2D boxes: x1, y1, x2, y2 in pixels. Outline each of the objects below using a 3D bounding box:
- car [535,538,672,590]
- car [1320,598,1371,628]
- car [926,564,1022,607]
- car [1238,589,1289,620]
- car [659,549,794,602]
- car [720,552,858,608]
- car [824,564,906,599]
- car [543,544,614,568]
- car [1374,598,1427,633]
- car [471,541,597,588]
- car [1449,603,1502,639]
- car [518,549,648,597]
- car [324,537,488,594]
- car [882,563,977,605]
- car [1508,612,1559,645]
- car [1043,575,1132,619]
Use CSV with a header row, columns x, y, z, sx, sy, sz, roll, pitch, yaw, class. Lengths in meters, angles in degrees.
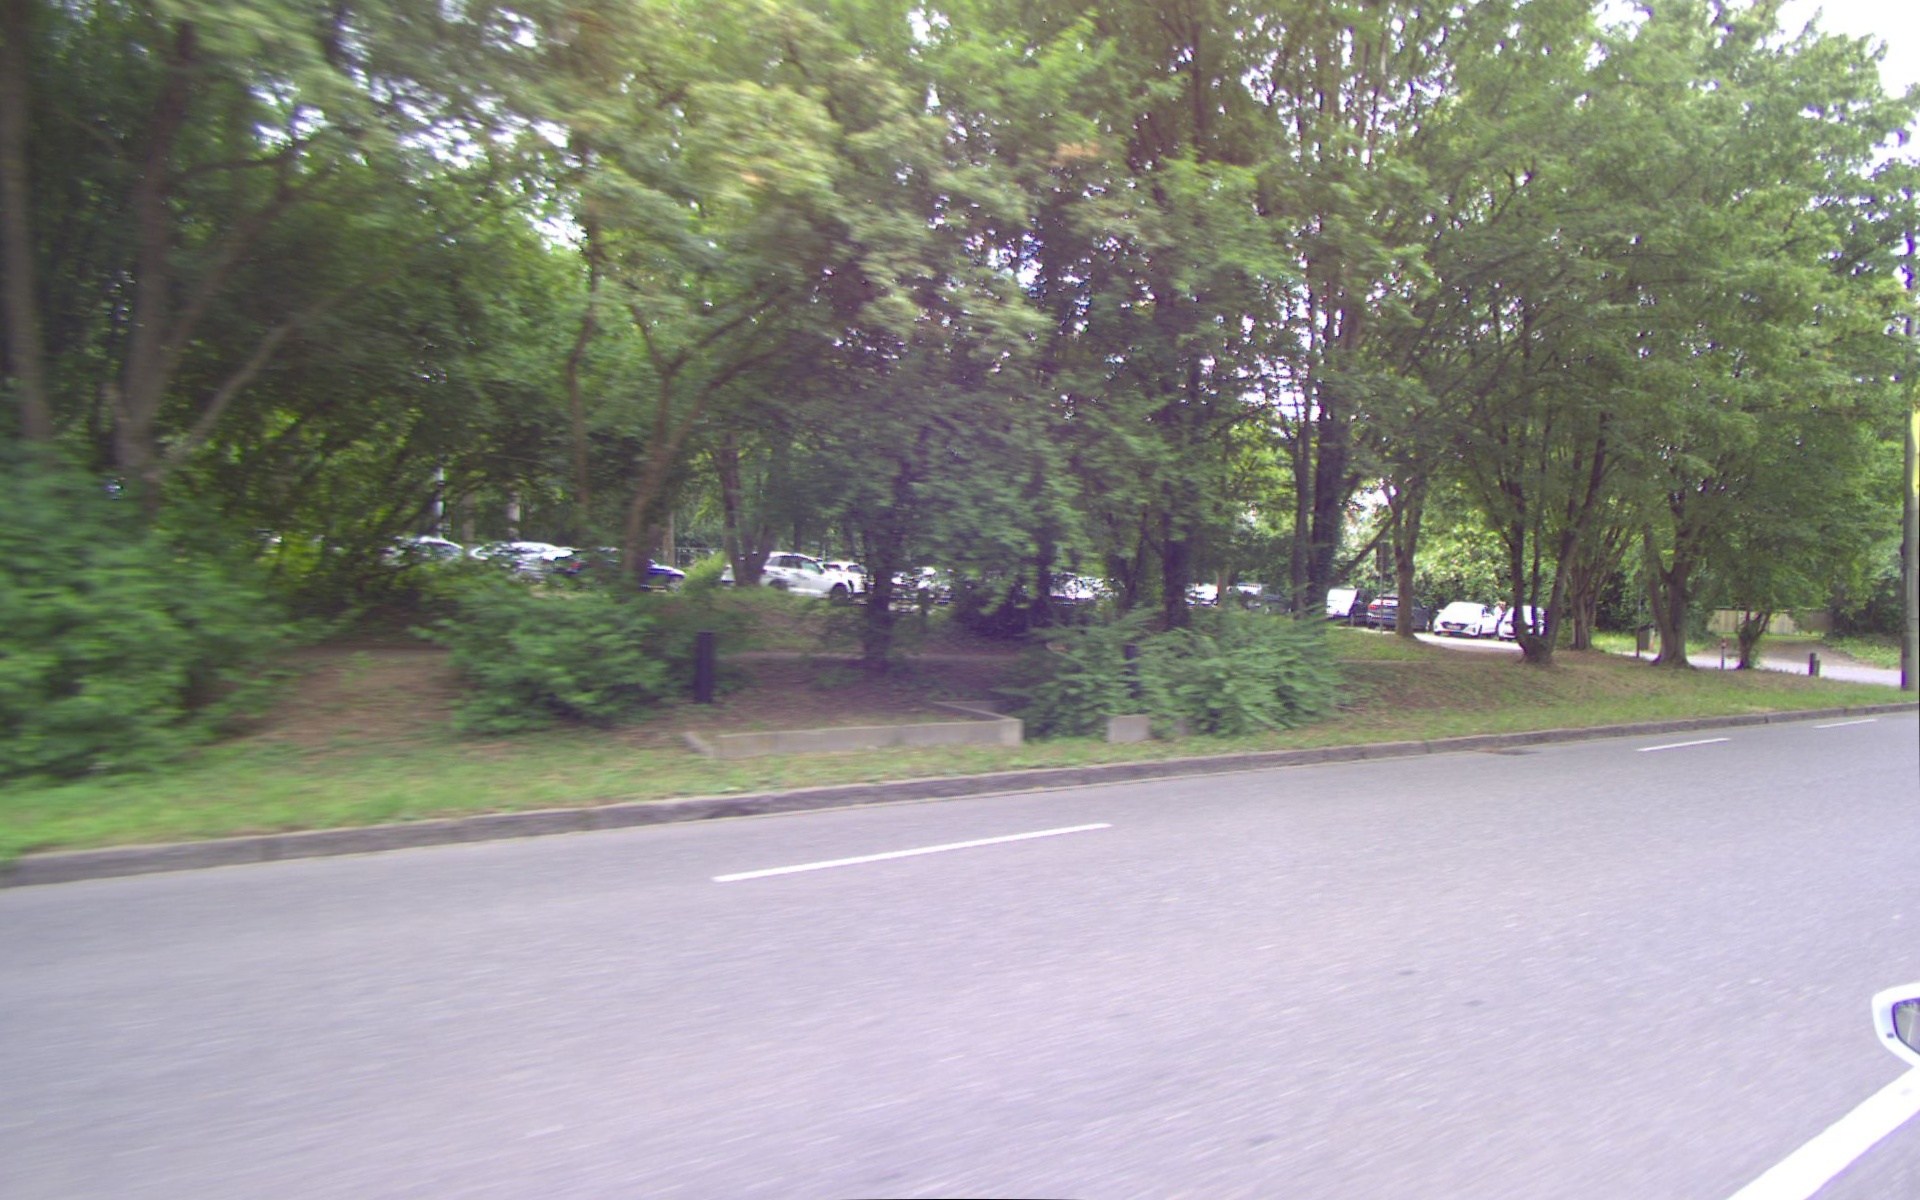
x,y,z,sx,sy,sz,roll,pitch,yaw,class
-11.534,-1.120,32.687,1.624,1.506,3.986,2,0,36,car
17.430,0.588,45.332,1.247,1.228,3.058,4,2,38,car
0.583,-0.543,38.351,1.624,1.506,3.986,2,0,36,car
14.562,0.214,48.168,1.247,1.379,3.058,4,2,38,car
-7.220,-0.731,31.369,1.624,1.506,3.986,2,0,36,car
-4.955,-0.564,29.521,1.624,1.506,3.986,2,0,36,car
-4.027,-0.779,43.070,1.621,1.372,3.578,4,2,33,car
-21.464,-2.467,56.461,3.920,1.226,1.897,2,1,36,car
19.291,0.668,43.905,1.354,1.420,3.058,4,2,38,car
-15.498,-1.264,36.710,1.624,1.506,3.986,2,0,36,car
21.714,0.869,42.284,1.354,1.420,3.058,4,2,38,car
-13.039,-0.919,34.921,1.624,1.506,3.986,2,0,36,car
-16.486,-0.993,30.058,1.624,1.506,3.986,2,0,36,car
-1.151,-0.600,39.585,1.624,1.506,3.986,2,0,36,car
23.711,1.149,41.504,1.354,1.255,3.058,4,2,38,car
4.487,-0.090,34.930,1.621,1.399,3.578,4,2,33,car
